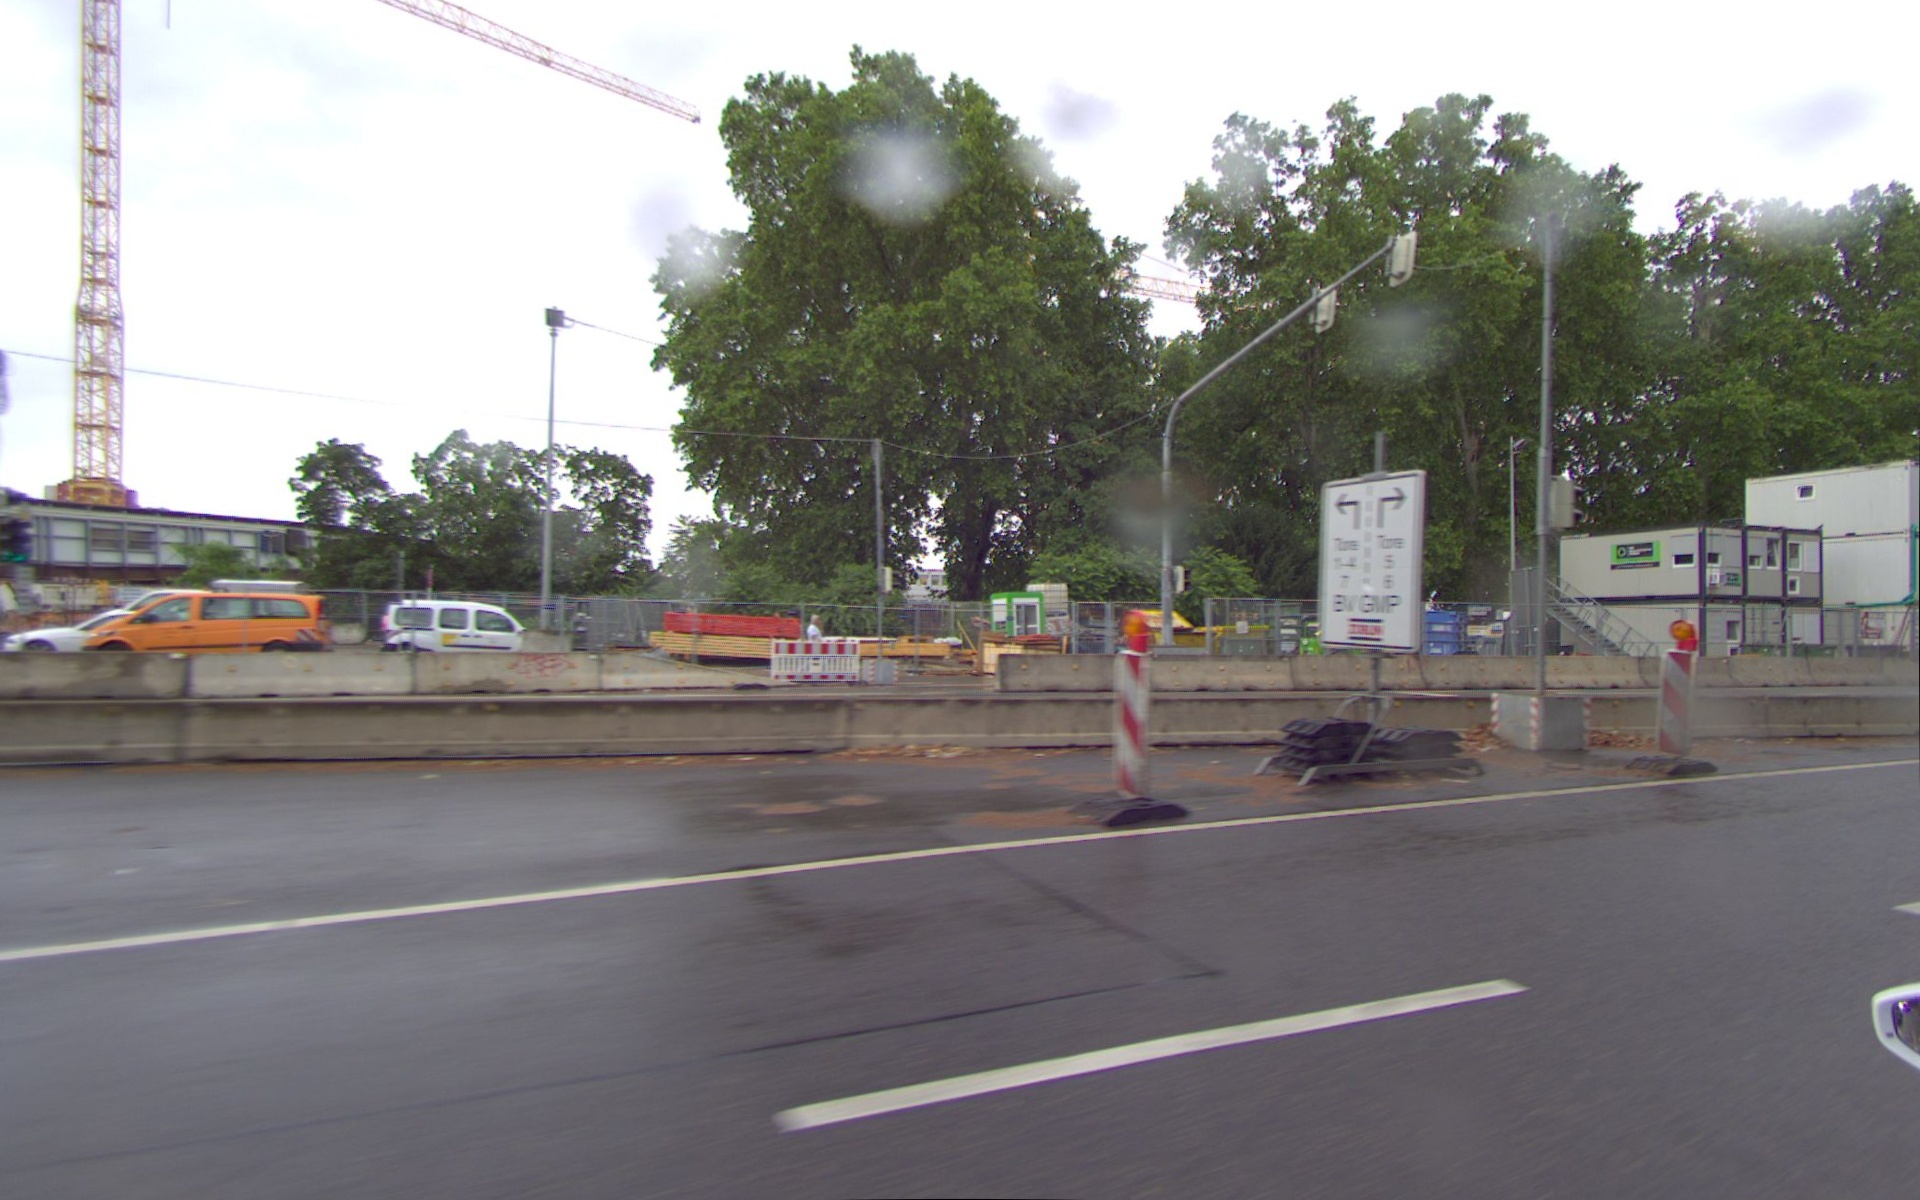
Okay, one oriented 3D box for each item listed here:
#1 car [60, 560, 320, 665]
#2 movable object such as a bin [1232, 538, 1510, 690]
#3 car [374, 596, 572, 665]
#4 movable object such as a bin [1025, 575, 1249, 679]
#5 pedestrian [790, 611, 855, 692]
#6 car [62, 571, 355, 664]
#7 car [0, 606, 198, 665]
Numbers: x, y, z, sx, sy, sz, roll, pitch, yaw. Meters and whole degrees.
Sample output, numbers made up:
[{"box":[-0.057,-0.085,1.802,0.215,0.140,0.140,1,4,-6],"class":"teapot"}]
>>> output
[{"box":[-24.242,0.486,32.005,6.082,3.106,2.269,2,-3,-23],"class":"car"},{"box":[14.537,0.642,35.776,8.237,4.865,4.742,2,-3,-22],"class":"movable object such as a bin"},{"box":[-13.217,0.876,27.612,4.728,1.784,1.842,2,-3,-22],"class":"car"},{"box":[5.850,0.983,33.585,6.295,3.169,3.926,2,-3,-22],"class":"movable object such as a bin"},{"box":[-3.552,1.306,25.976,1.156,2.040,1.178,0,-1,40],"class":"pedestrian"},{"box":[-18.546,0.540,25.204,5.507,2.127,1.988,2,-4,-25],"class":"car"},{"box":[-22.425,0.949,26.280,3.794,1.433,1.747,2,-3,-34],"class":"car"}]
